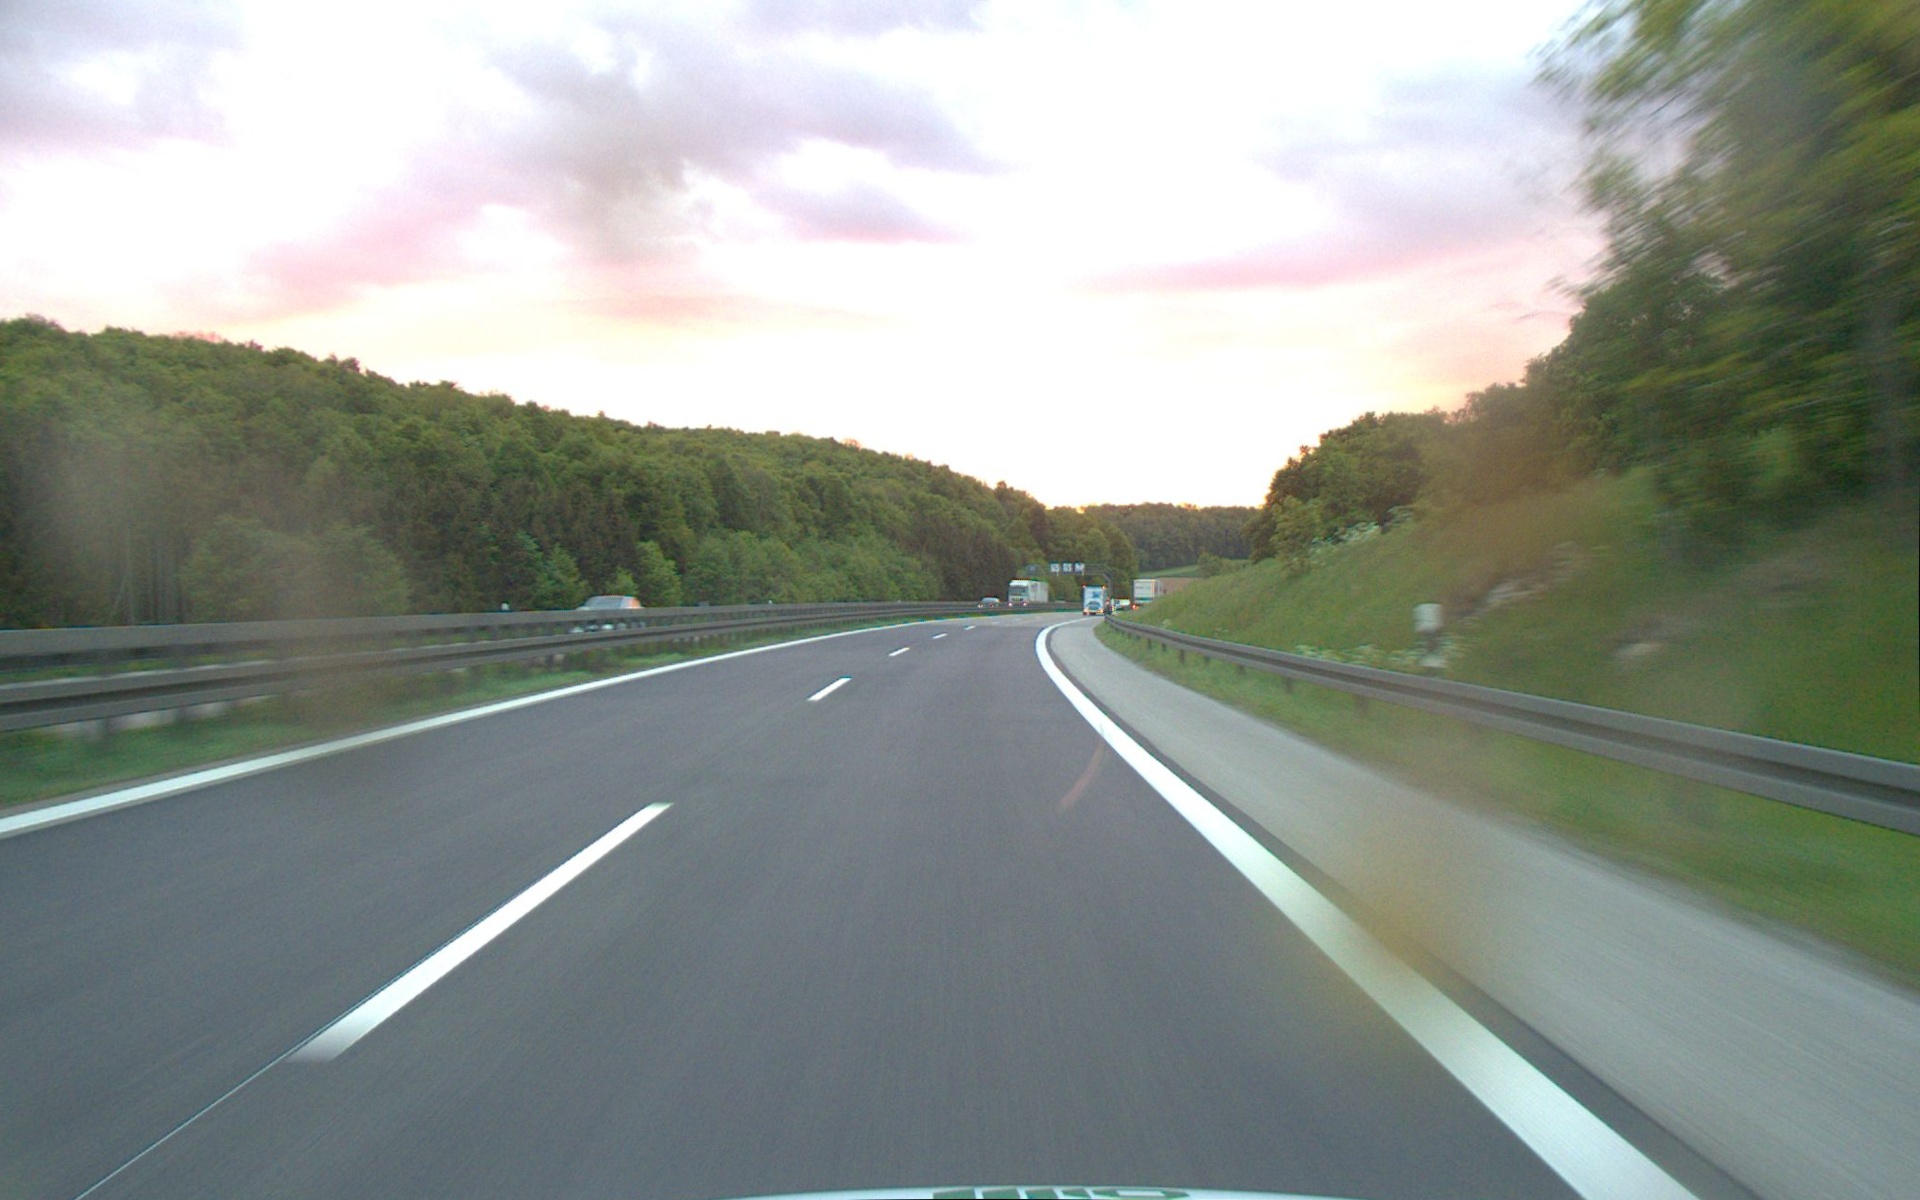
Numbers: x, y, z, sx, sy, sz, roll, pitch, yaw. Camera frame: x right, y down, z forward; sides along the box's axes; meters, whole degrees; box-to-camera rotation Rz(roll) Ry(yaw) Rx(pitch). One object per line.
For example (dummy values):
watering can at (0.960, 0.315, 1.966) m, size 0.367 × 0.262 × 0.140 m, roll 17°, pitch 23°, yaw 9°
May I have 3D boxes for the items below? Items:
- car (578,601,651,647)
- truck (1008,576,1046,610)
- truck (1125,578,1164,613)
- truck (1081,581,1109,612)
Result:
car at (-13.312, 0.881, 63.900) m, size 1.716 × 1.668 × 4.479 m, roll -1°, pitch 0°, yaw 2°
truck at (8.857, -0.951, 218.680) m, size 2.804 × 4.356 × 10.072 m, roll 0°, pitch 0°, yaw 15°
truck at (24.046, -0.659, 214.672) m, size 3.873 × 4.362 × 14.336 m, roll -1°, pitch 0°, yaw 11°
truck at (12.855, -0.344, 156.990) m, size 2.227 × 2.711 × 5.241 m, roll -2°, pitch 2°, yaw 8°
